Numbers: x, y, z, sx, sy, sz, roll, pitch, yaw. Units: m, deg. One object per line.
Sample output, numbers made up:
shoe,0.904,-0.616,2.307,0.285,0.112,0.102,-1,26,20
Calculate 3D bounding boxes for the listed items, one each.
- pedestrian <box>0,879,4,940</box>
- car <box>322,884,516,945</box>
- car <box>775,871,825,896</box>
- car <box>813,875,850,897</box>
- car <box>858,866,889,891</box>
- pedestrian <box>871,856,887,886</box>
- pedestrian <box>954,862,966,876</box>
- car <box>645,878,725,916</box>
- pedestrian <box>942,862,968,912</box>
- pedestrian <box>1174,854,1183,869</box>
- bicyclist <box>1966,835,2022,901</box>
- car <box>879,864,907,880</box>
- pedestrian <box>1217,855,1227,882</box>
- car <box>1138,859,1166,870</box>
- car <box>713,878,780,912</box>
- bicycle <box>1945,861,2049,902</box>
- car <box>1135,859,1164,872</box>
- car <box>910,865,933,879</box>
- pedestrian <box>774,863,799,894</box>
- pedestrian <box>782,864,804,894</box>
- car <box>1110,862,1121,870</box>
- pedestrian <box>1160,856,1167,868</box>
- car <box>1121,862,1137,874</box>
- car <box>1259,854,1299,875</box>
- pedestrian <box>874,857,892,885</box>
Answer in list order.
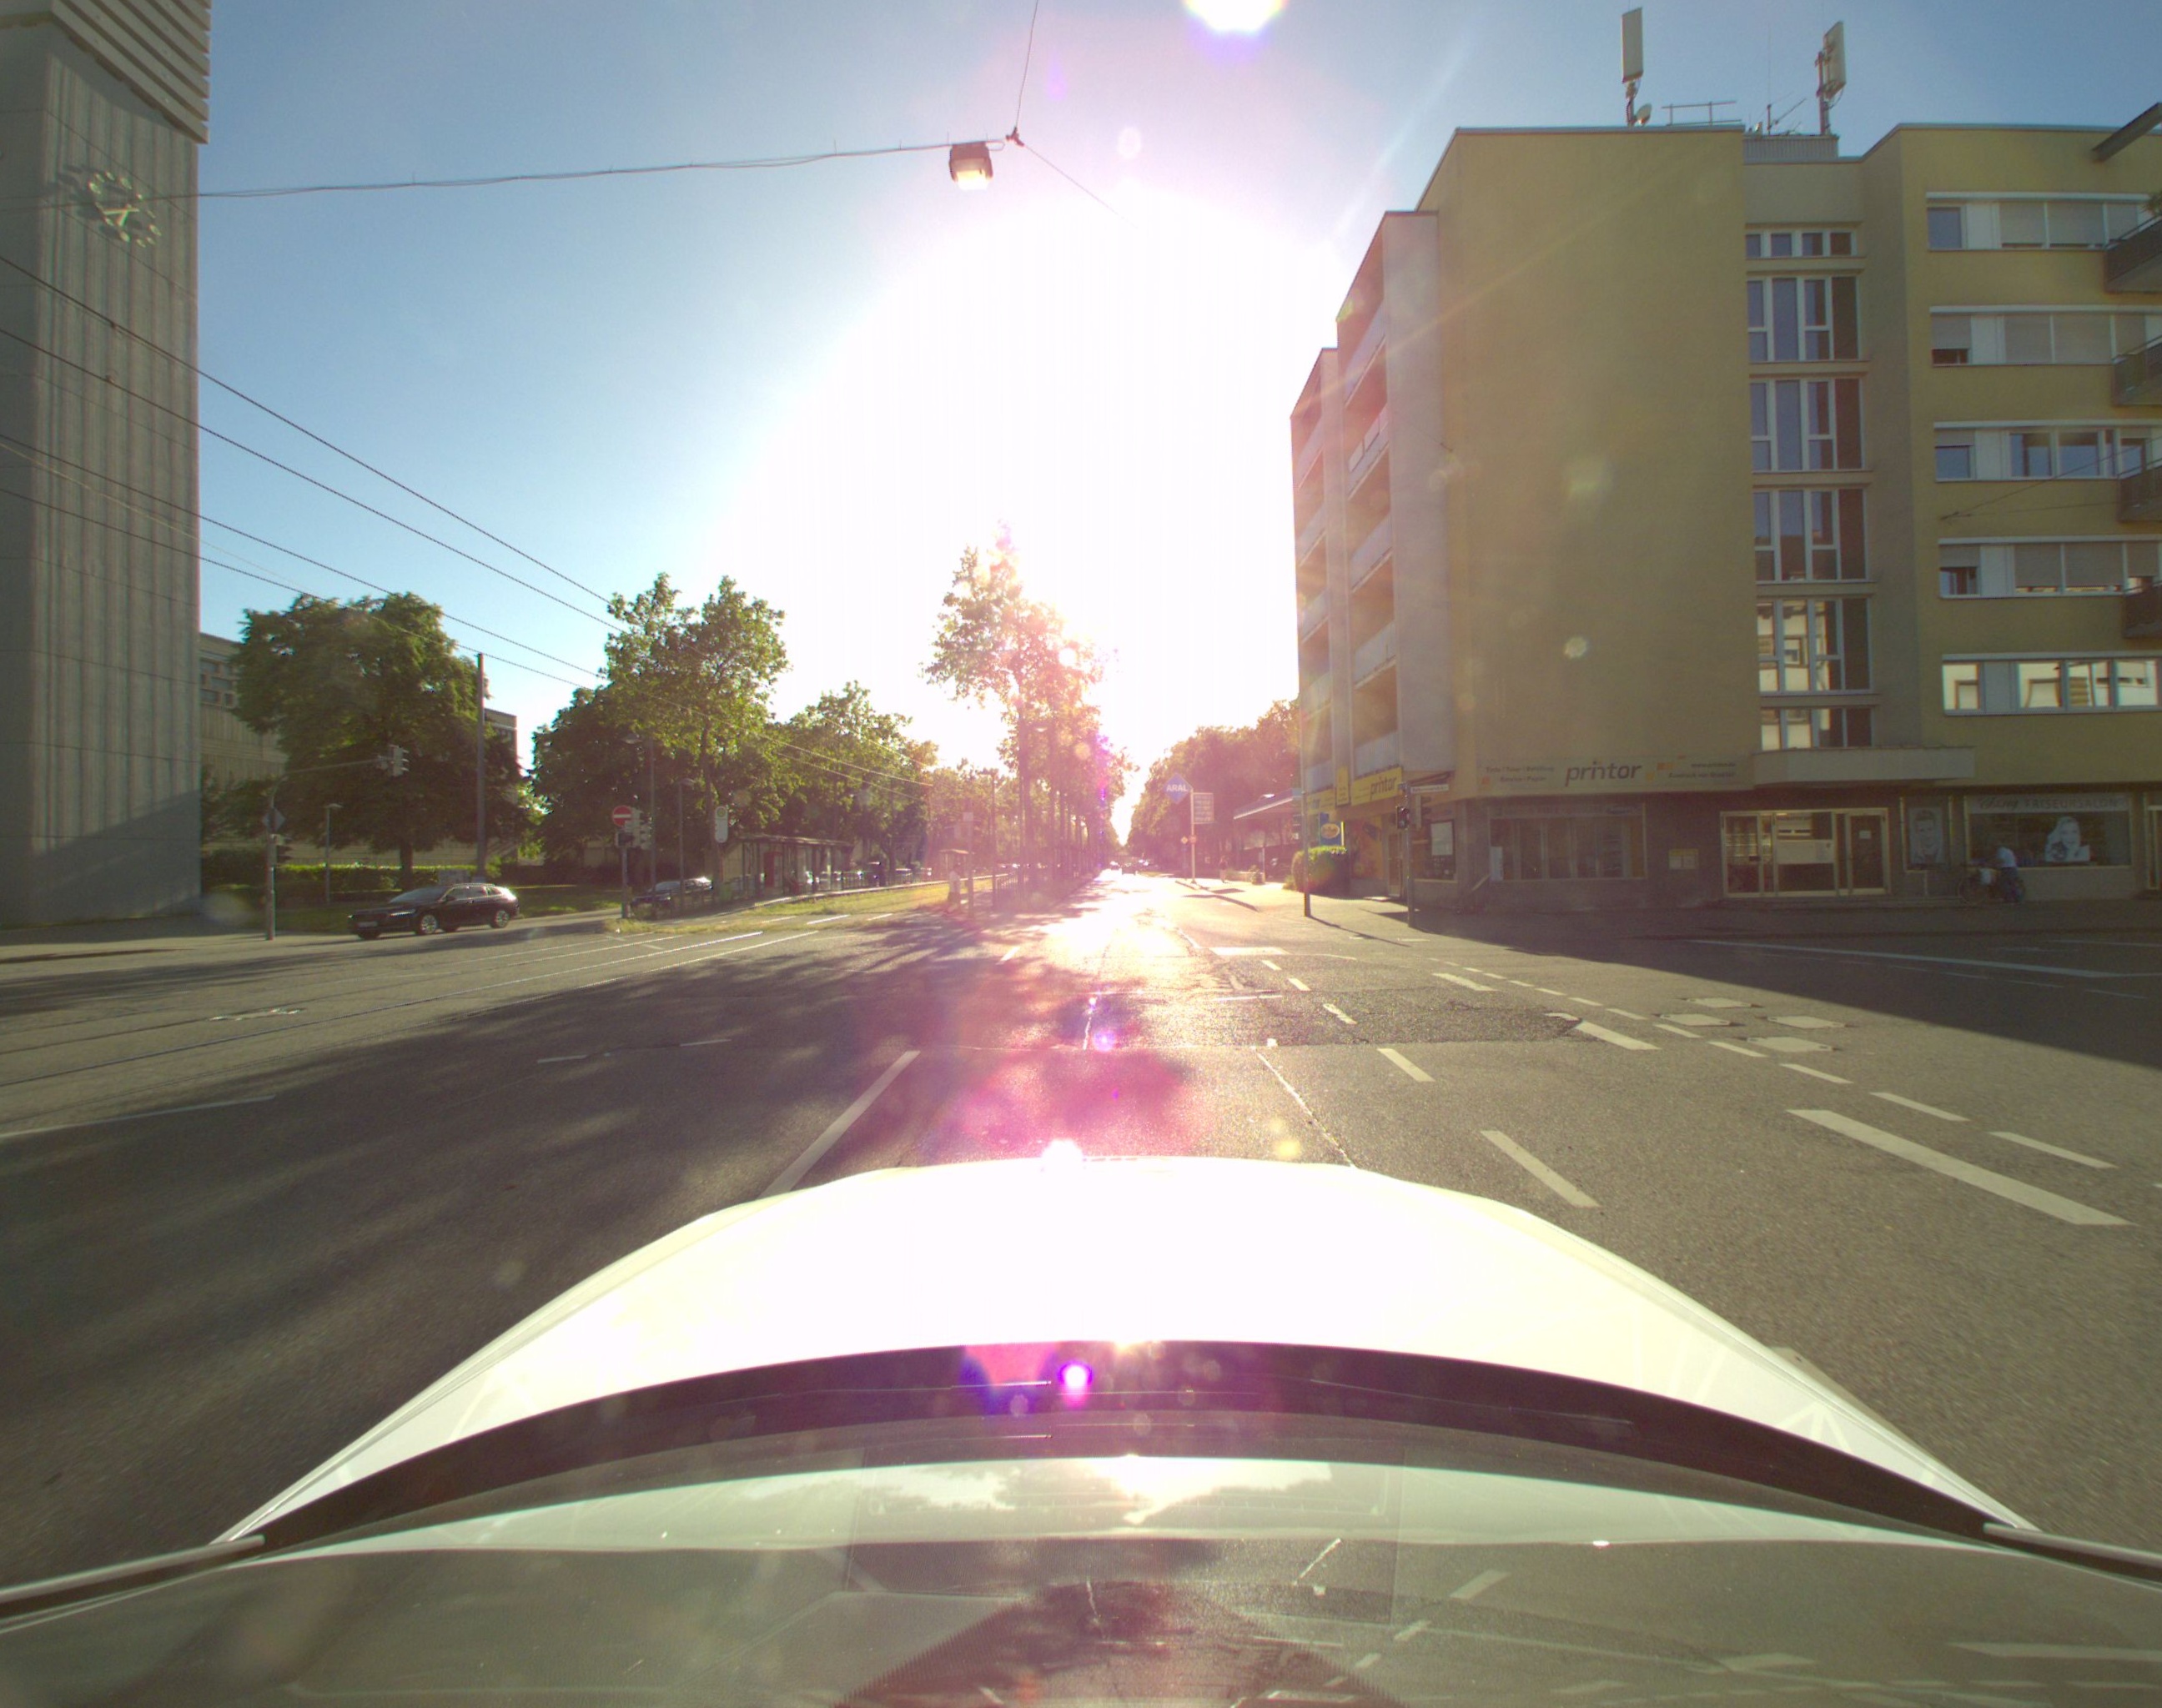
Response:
pedestrian,-30.295,1.552,22.305,0.593,1.681,0.747,-1,-1,-4
car,-19.373,1.711,24.163,1.942,1.442,4.530,-1,0,2
car,-18.051,1.874,52.454,1.587,1.444,3.933,-2,0,3
car,-19.780,2.510,64.699,1.588,1.636,3.932,-2,0,2
car,-19.623,2.314,77.091,1.707,2.262,3.935,-2,0,2
pedestrian,-12.390,1.043,49.964,0.717,1.867,0.637,-1,-1,3
pedestrian,-11.466,1.440,77.390,0.829,1.261,0.804,-1,-1,31
car,-14.249,1.517,29.438,1.319,1.204,2.968,-1,-1,3
pedestrian,-3.924,1.007,25.354,0.661,1.529,0.534,-1,-1,-24
pedestrian,12.360,0.995,103.054,0.926,1.885,0.797,-1,-1,-12
bicyclist,23.915,0.372,21.340,0.681,1.679,0.639,-1,-1,-2
car,-19.872,1.900,86.409,1.706,1.546,3.939,-2,0,5
pedestrian,9.188,0.952,53.010,0.601,1.701,0.553,-1,-1,6
car,11.042,1.612,126.743,4.010,1.469,1.744,-4,0,-29
car,-15.635,1.888,38.256,1.600,1.427,3.537,-1,0,0
bicycle,23.974,0.708,21.329,2.075,1.059,0.642,0,-1,-3
car,11.541,1.927,137.001,4.693,1.853,1.810,-2,-1,-38
car,-19.529,2.175,99.631,1.706,1.546,4.204,-2,0,4
pedestrian,-13.163,1.087,36.441,0.726,1.341,0.777,-2,-1,16
pedestrian,-13.202,1.117,37.316,0.691,1.341,0.735,-1,-1,4
car,6.530,2.286,153.592,1.842,1.535,3.869,-1,-1,3
pedestrian,11.675,1.111,114.886,0.715,1.706,0.647,-2,-1,-32
car,5.985,1.765,101.607,1.915,1.411,4.002,-1,0,2
car,14.455,0.793,59.596,1.717,1.463,4.000,-1,-1,-4
pedestrian,-12.393,1.053,51.048,0.879,1.690,0.755,-1,-1,3
